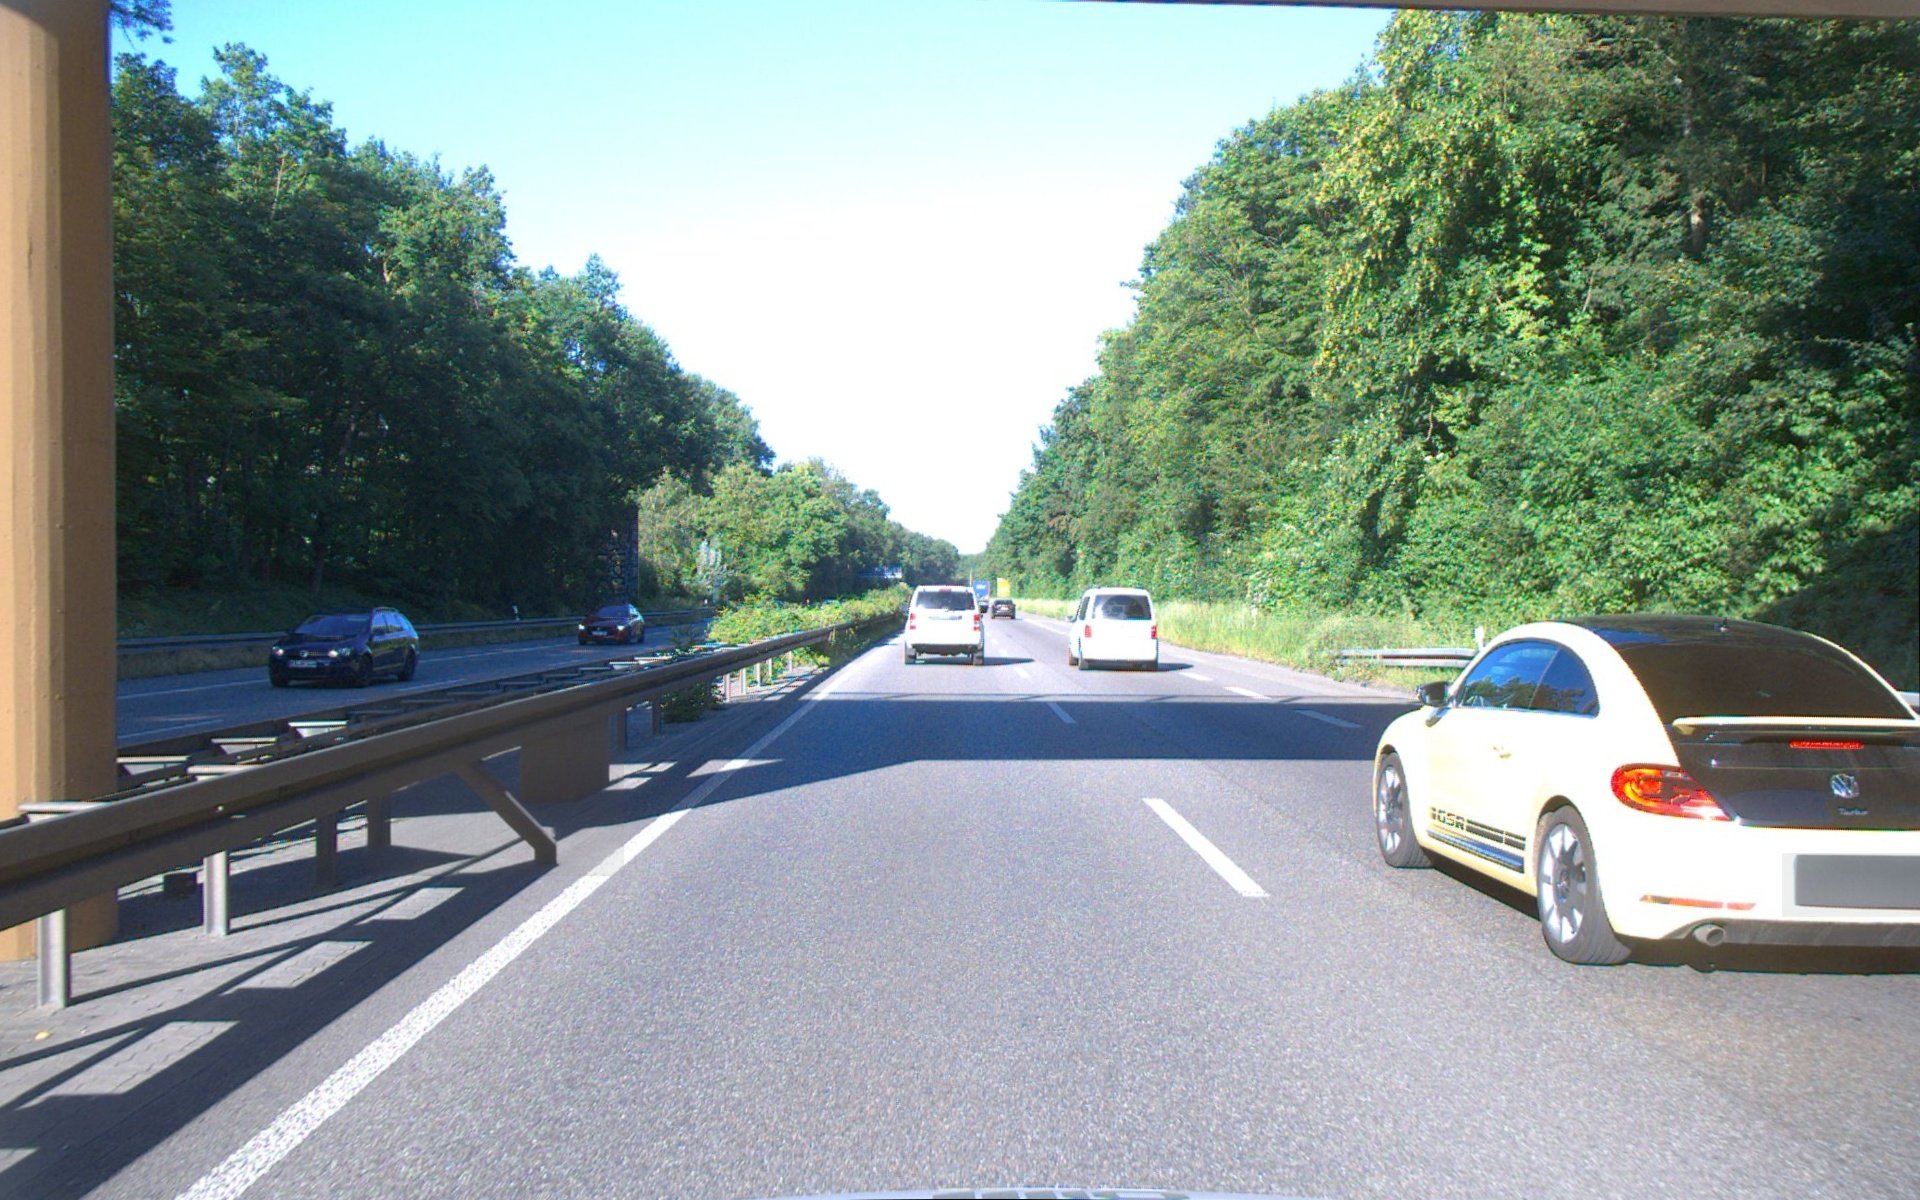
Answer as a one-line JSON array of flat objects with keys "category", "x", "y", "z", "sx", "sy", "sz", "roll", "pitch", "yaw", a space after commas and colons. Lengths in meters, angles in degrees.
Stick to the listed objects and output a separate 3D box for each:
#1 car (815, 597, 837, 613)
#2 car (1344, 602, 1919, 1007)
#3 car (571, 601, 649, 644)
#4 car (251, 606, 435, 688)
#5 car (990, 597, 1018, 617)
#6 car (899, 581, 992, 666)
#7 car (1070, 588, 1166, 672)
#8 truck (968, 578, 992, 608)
[{"category": "car", "x": -13.150, "y": 0.493, "z": 162.056, "sx": 1.921, "sy": 1.475, "sz": 4.504, "roll": 1, "pitch": 0, "yaw": -2}, {"category": "car", "x": 3.468, "y": 0.777, "z": 8.389, "sx": 1.842, "sy": 1.487, "sz": 4.354, "roll": 1, "pitch": 0, "yaw": -3}, {"category": "car", "x": -12.685, "y": 0.785, "z": 60.197, "sx": 1.921, "sy": 1.475, "sz": 4.582, "roll": 1, "pitch": 0, "yaw": -1}, {"category": "car", "x": -12.021, "y": 0.866, "z": 32.576, "sx": 1.921, "sy": 1.475, "sz": 4.705, "roll": 0, "pitch": 0, "yaw": -1}, {"category": "car", "x": 3.284, "y": 0.511, "z": 123.891, "sx": 1.953, "sy": 1.422, "sz": 4.000, "roll": 1, "pitch": 0, "yaw": 0}, {"category": "car", "x": -0.385, "y": 0.525, "z": 38.606, "sx": 2.043, "sy": 1.860, "sz": 3.998, "roll": 1, "pitch": 0, "yaw": -2}, {"category": "car", "x": 3.523, "y": 0.638, "z": 37.601, "sx": 1.825, "sy": 1.801, "sz": 4.470, "roll": 0, "pitch": 0, "yaw": 1}, {"category": "truck", "x": 2.871, "y": -1.022, "z": 244.780, "sx": 3.424, "sy": 4.246, "sz": 8.861, "roll": 0, "pitch": 0, "yaw": 0}]
